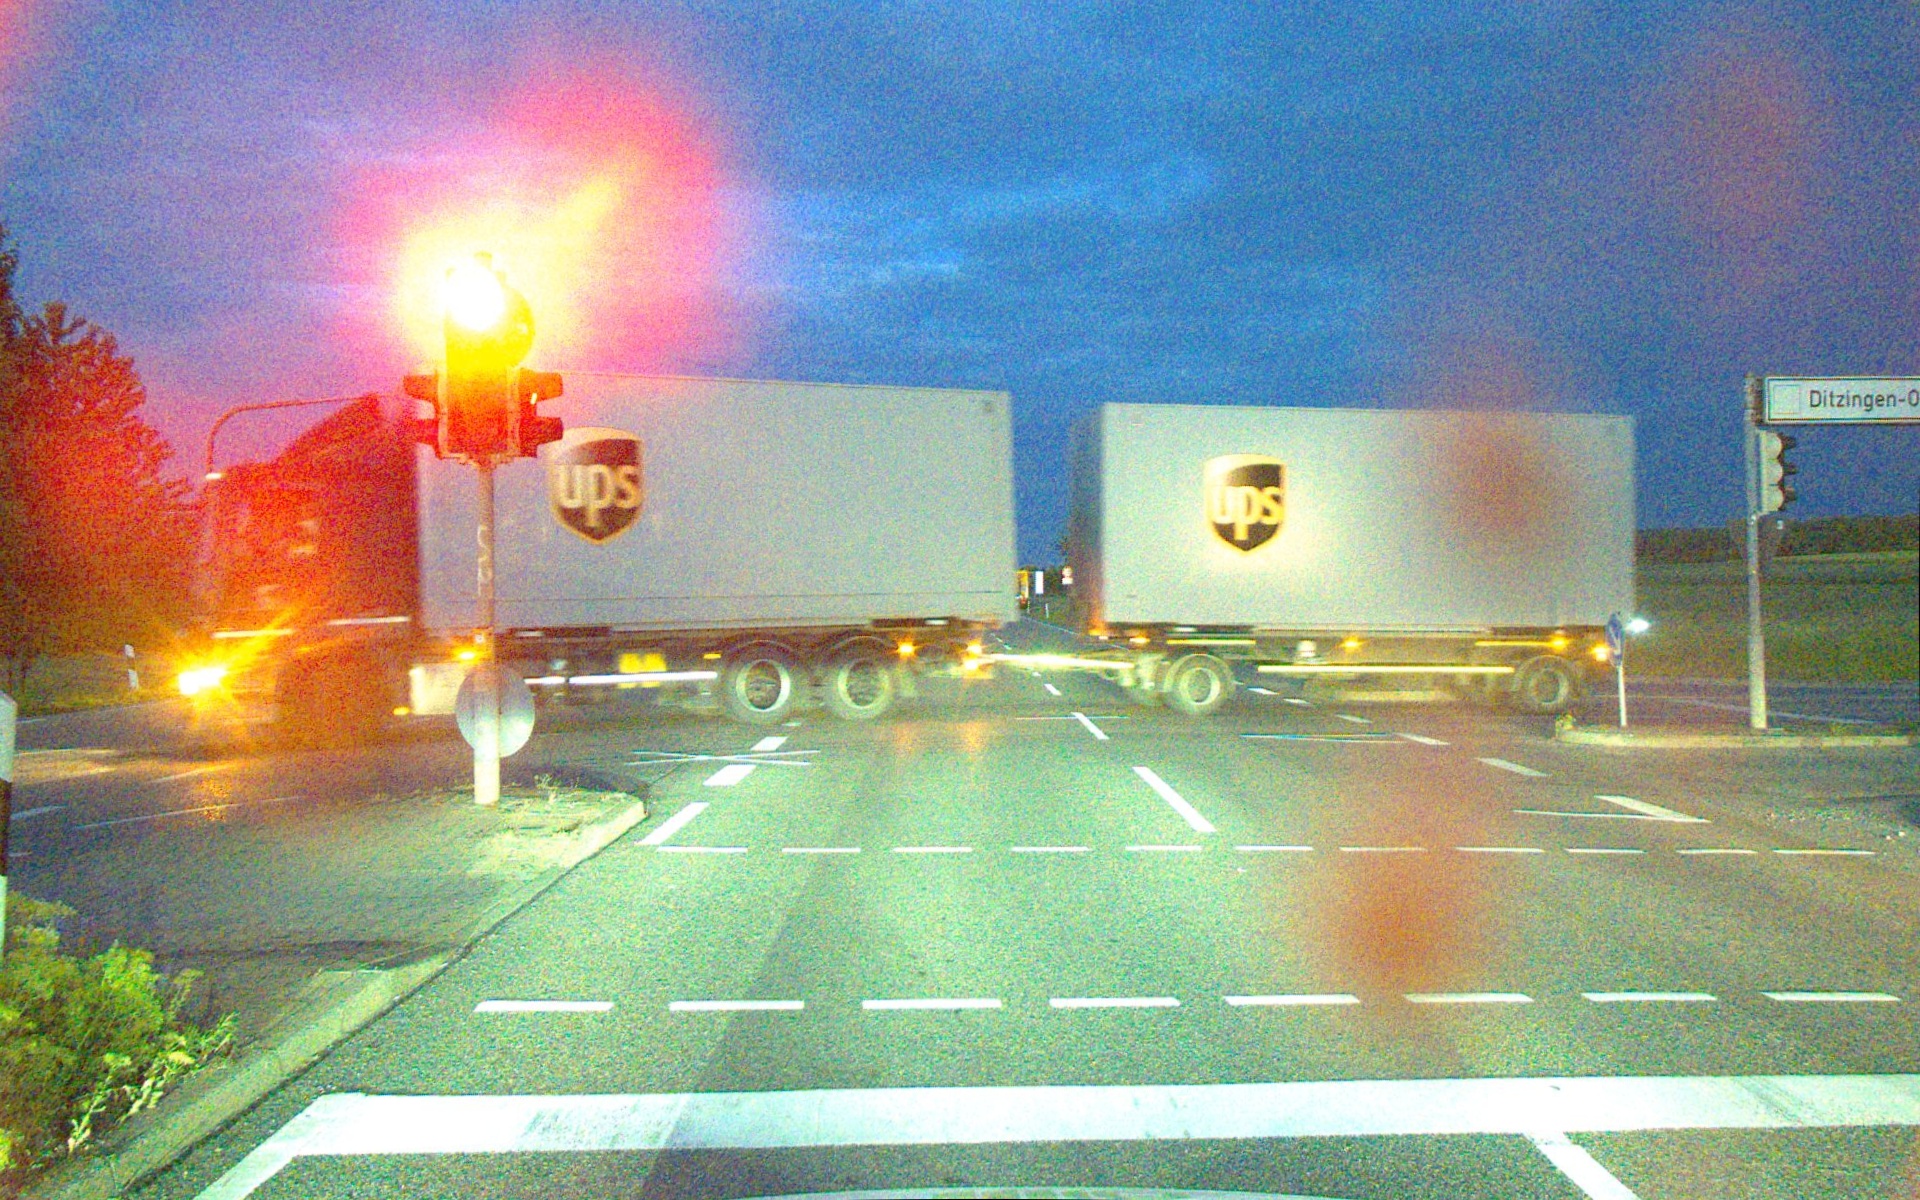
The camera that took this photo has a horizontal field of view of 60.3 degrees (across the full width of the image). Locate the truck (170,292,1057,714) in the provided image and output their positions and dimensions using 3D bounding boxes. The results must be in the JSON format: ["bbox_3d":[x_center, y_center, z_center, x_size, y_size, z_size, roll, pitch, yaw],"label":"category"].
[{"bbox_3d":[-3.887,-0.971,19.971,10.189,4.189,2.711,0,0,-27],"label":"truck"}]

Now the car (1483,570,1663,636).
[{"bbox_3d":[16.989,0.084,45.880,4.382,1.693,1.995,-1,0,32],"label":"car"}]

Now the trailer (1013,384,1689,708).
[{"bbox_3d":[5.262,-0.764,22.833,8.683,4.012,2.580,-2,0,-8],"label":"trailer"}]
